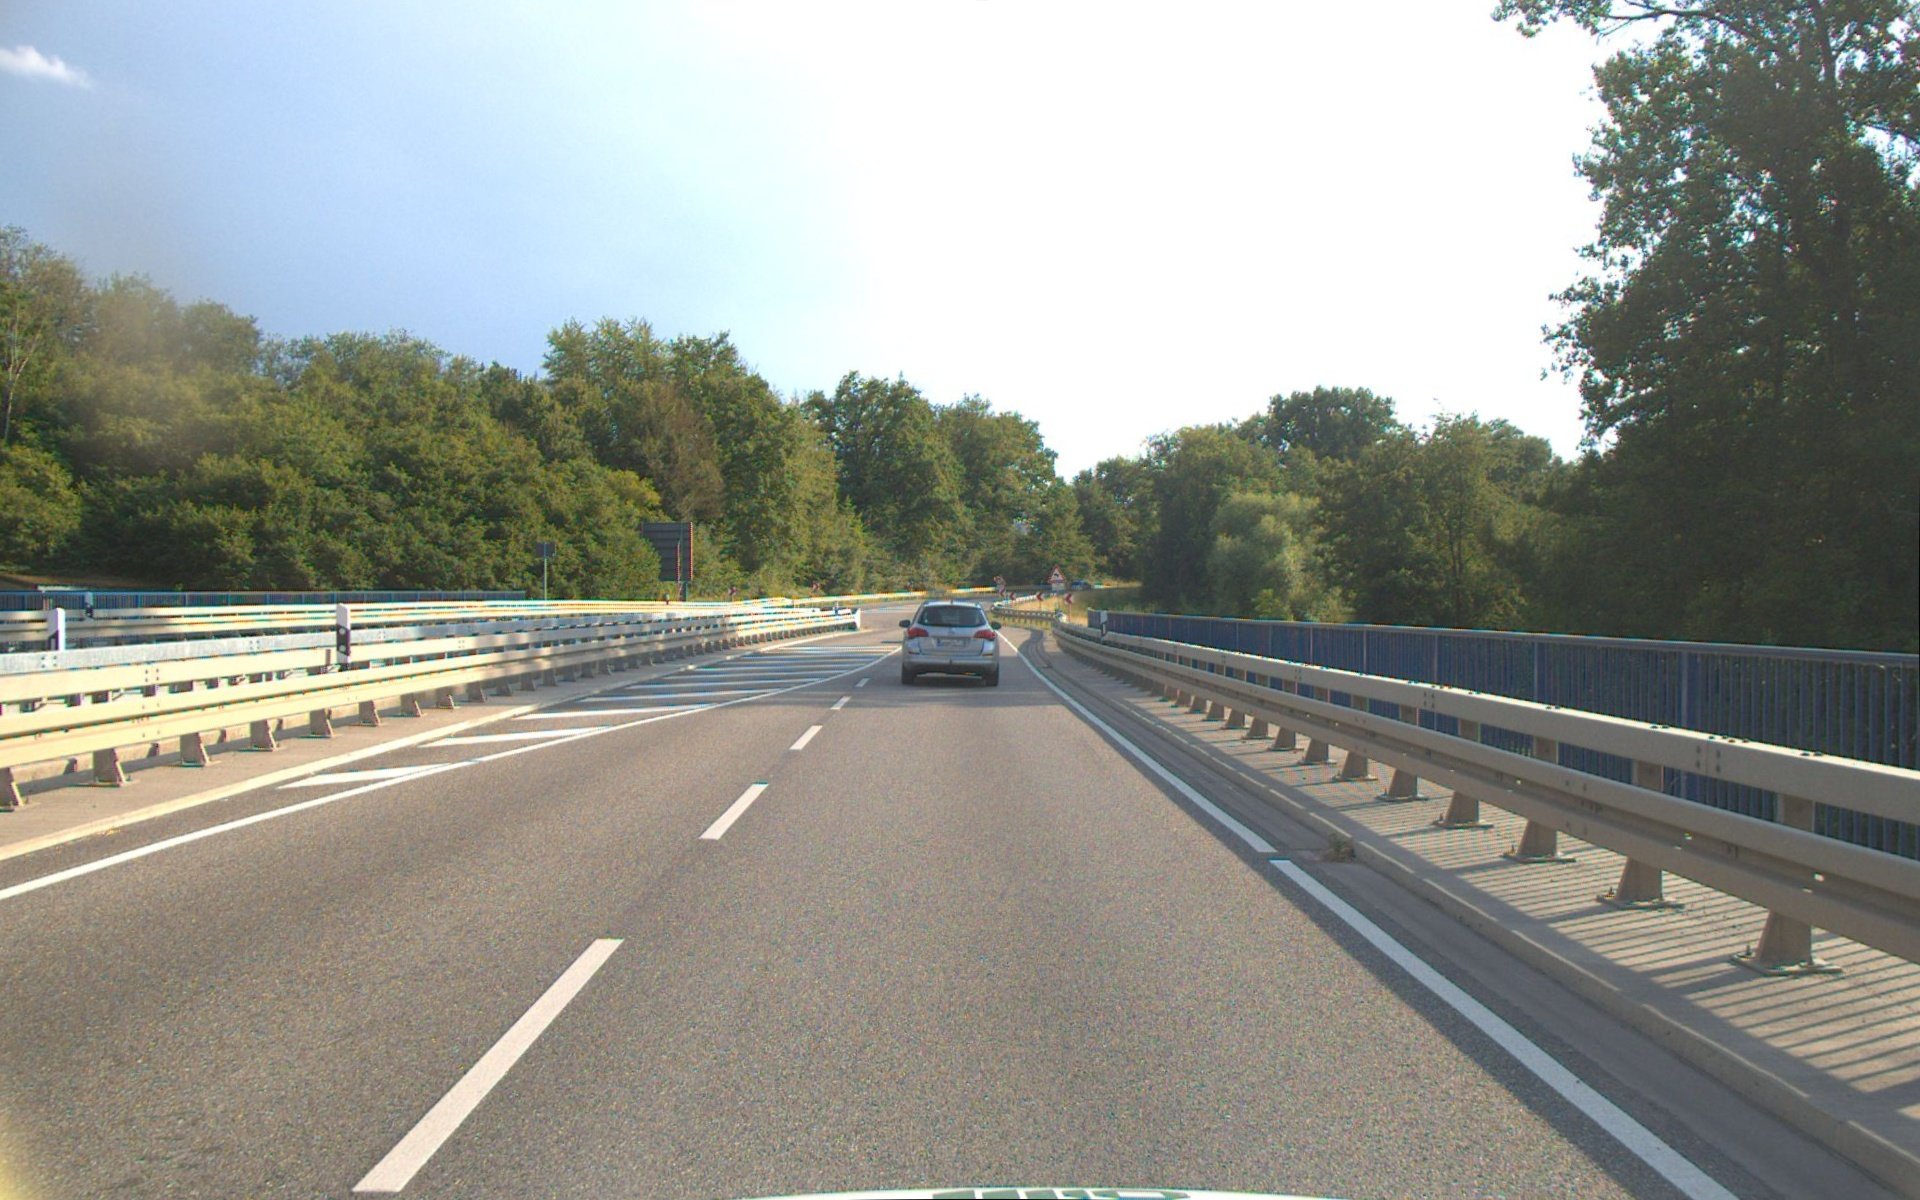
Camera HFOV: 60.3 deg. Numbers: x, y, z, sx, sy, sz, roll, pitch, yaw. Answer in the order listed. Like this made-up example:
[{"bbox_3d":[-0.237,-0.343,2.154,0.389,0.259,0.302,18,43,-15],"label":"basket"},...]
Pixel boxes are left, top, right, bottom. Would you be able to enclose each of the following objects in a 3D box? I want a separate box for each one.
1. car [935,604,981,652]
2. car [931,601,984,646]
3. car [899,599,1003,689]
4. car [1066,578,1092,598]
[{"bbox_3d":[-0.115,1.278,74.106,1.953,2.049,3.998,1,-1,-2],"label":"car"},{"bbox_3d":[-0.131,0.850,58.818,1.772,1.512,3.998,1,-1,-1],"label":"car"},{"bbox_3d":[-0.196,0.805,30.666,1.772,1.512,3.998,1,-1,-1],"label":"car"},{"bbox_3d":[12.885,-1.267,179.037,1.951,2.049,4.002,1,-1,17],"label":"car"}]
